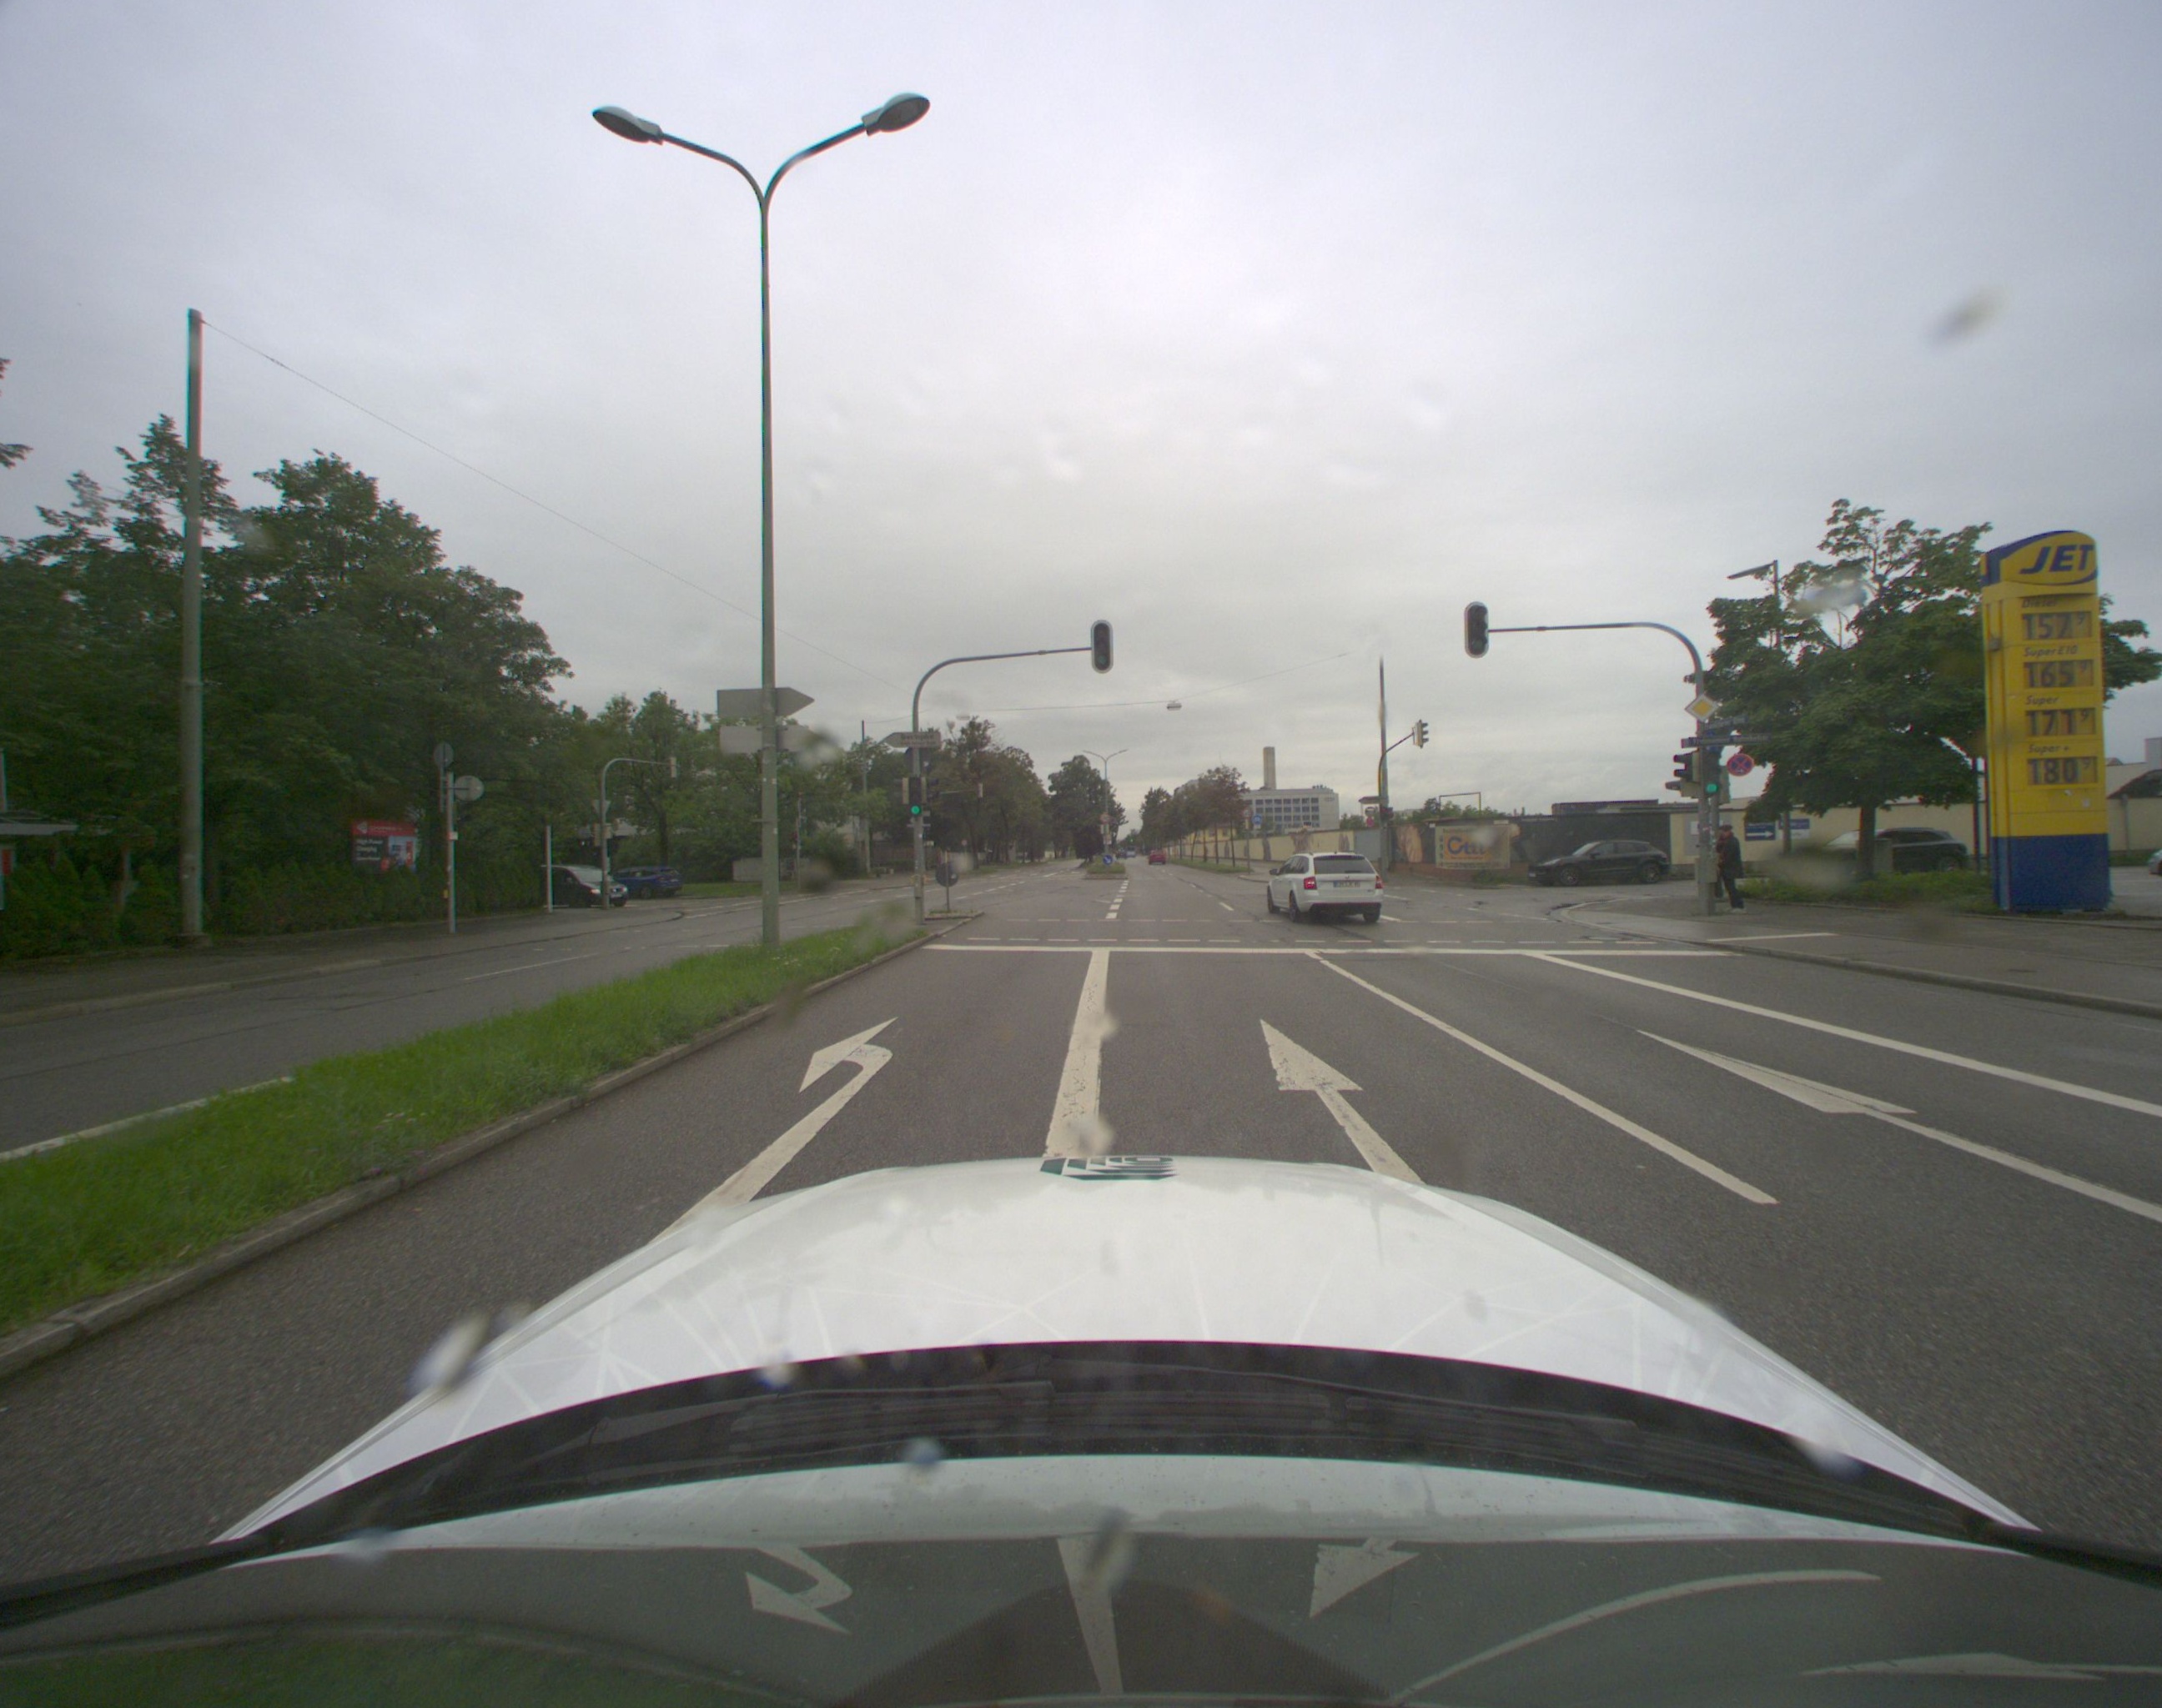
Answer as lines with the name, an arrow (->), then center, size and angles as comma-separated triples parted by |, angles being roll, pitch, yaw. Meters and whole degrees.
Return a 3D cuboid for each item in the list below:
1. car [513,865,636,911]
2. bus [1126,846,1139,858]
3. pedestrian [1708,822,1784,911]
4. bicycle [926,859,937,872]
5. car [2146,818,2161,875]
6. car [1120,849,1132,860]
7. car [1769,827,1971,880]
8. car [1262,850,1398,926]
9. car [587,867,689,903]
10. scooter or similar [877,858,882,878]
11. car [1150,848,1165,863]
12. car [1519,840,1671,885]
car -> -21.107, 1.434, 33.940 | 4.731, 1.723, 2.011 | -3, -1, 24
bus -> 13.986, -0.643, 221.385 | 3.209, 3.127, 10.347 | -1, 0, 1
pedestrian -> 12.794, 0.236, 15.688 | 0.799, 1.615, 0.688 | -4, 0, 1
bicycle -> -14.417, 1.098, 78.688 | 0.580, 1.295, 2.454 | -1, 0, 0
car -> 28.879, -0.210, 19.489 | 1.618, 1.486, 3.978 | -1, 0, 0
car -> 8.337, 0.066, 150.943 | 2.077, 1.866, 4.387 | -1, 0, 1
car -> 26.186, -0.003, 27.175 | 4.596, 1.532, 2.003 | -2, 0, 4
car -> 5.323, 0.656, 18.034 | 1.870, 1.468, 4.506 | -1, 0, 3
car -> -23.154, 1.596, 42.646 | 4.241, 1.574, 2.007 | -2, 2, 11
scooter or similar -> -14.675, 0.998, 59.321 | 0.370, 1.424, 1.399 | 0, 0, -13
car -> 8.623, 0.166, 92.001 | 1.479, 1.715, 3.552 | -1, 0, 1
car -> 18.733, 0.301, 29.844 | 4.230, 1.428, 2.003 | -2, 0, 4
